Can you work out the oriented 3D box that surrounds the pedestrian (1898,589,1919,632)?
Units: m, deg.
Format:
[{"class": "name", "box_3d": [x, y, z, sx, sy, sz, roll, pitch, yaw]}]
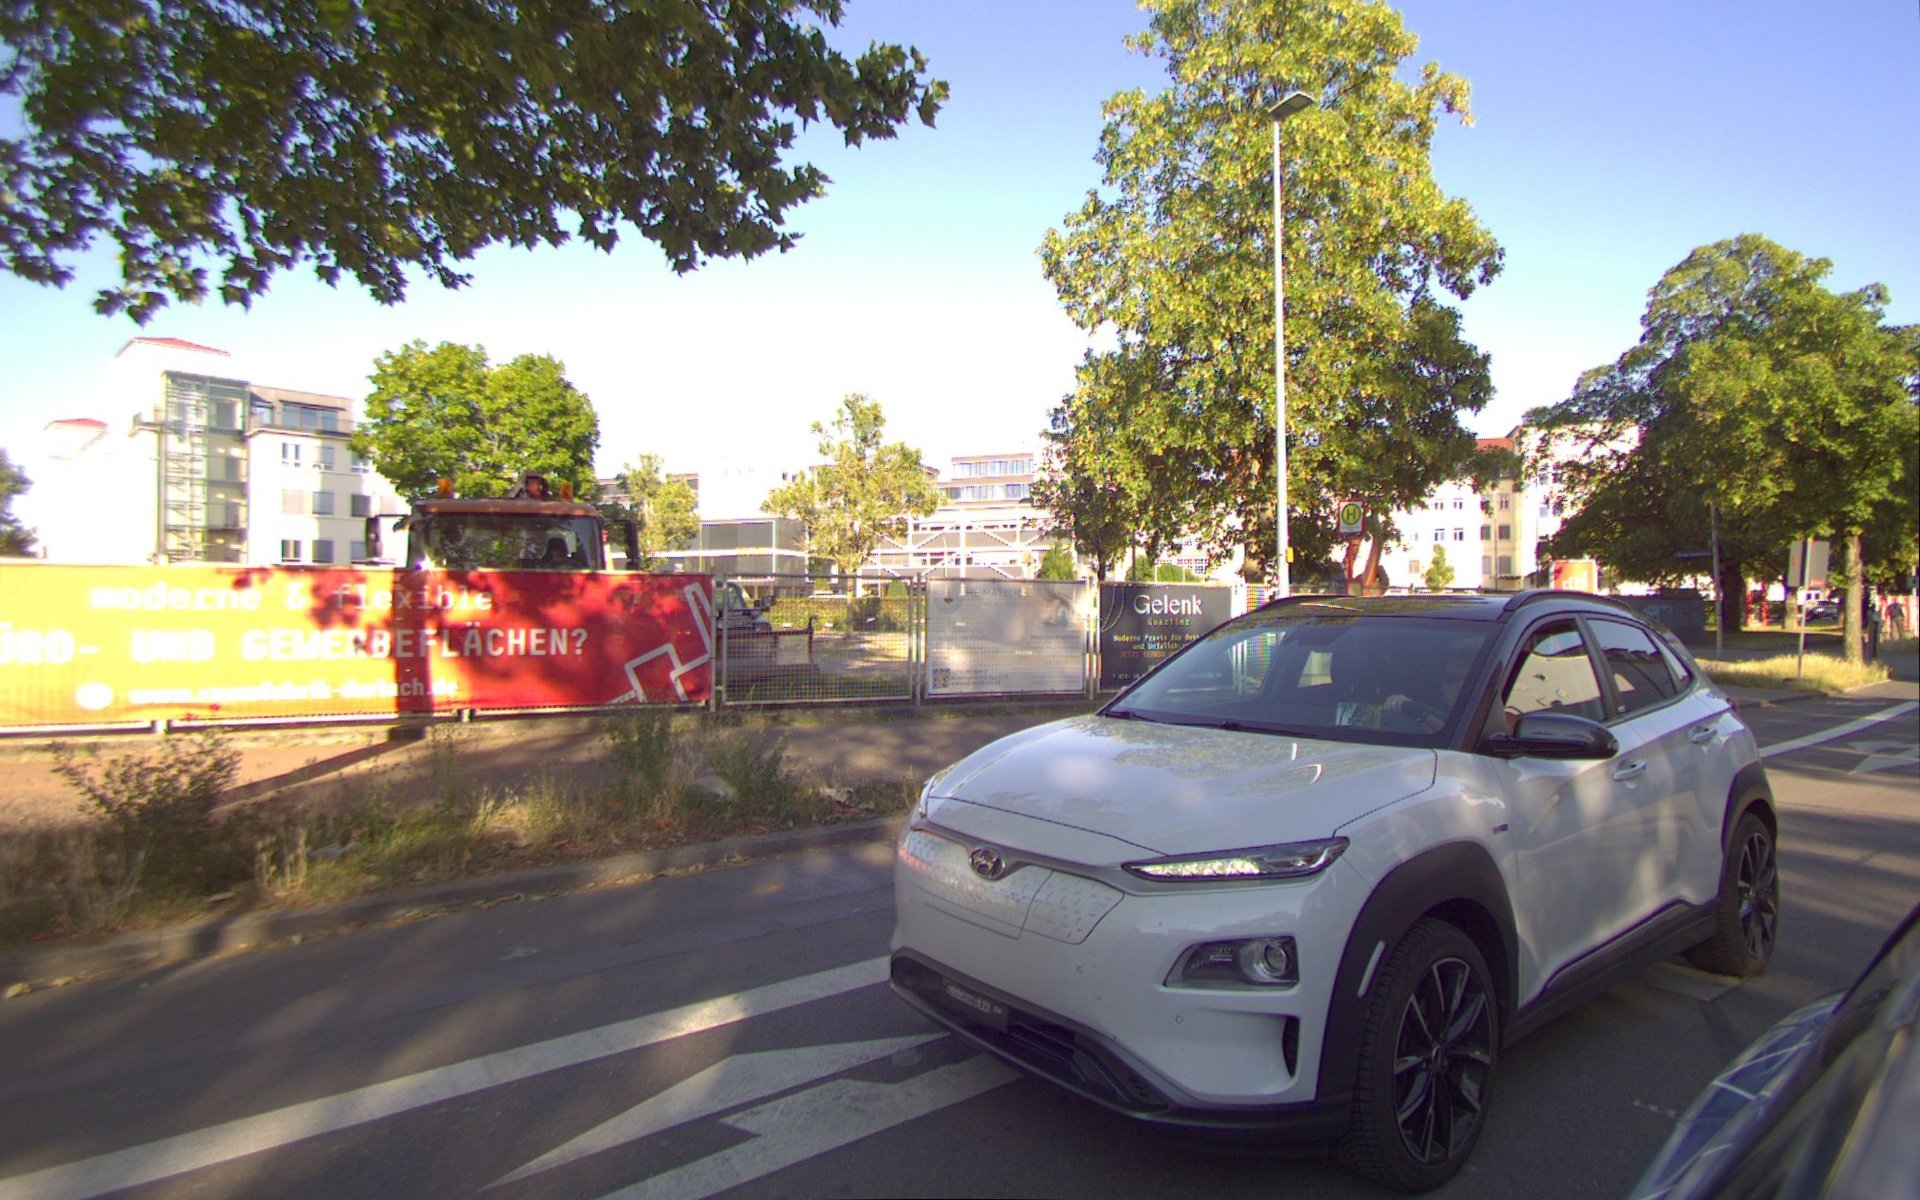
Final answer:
[{"class": "pedestrian", "box_3d": [38.191, 0.419, 40.595, 0.627, 1.690, 0.696, 0, -1, -37]}]

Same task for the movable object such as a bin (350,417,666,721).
[{"class": "movable object such as a bin", "box_3d": [-6.438, -0.307, 13.804, 3.154, 3.088, 6.294, -1, 0, -31]}]

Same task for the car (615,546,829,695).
[{"class": "car", "box_3d": [-3.703, 0.262, 15.029, 2.001, 1.851, 4.611, -1, 0, -27]}]

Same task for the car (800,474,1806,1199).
[{"class": "car", "box_3d": [1.565, 0.637, 3.921, 3.893, 1.618, 1.893, 2, -3, -39]}]

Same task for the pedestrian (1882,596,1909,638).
[{"class": "pedestrian", "box_3d": [33.208, 0.591, 35.918, 0.627, 1.453, 0.609, 0, -1, -40]}]

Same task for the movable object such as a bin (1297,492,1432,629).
[{"class": "movable object such as a bin", "box_3d": [17.544, -1.597, 44.457, 3.910, 5.548, 6.021, -1, 0, 7]}]

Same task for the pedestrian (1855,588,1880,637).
[{"class": "pedestrian", "box_3d": [32.795, 0.448, 36.571, 0.607, 1.759, 0.629, -2, -1, 44]}]
